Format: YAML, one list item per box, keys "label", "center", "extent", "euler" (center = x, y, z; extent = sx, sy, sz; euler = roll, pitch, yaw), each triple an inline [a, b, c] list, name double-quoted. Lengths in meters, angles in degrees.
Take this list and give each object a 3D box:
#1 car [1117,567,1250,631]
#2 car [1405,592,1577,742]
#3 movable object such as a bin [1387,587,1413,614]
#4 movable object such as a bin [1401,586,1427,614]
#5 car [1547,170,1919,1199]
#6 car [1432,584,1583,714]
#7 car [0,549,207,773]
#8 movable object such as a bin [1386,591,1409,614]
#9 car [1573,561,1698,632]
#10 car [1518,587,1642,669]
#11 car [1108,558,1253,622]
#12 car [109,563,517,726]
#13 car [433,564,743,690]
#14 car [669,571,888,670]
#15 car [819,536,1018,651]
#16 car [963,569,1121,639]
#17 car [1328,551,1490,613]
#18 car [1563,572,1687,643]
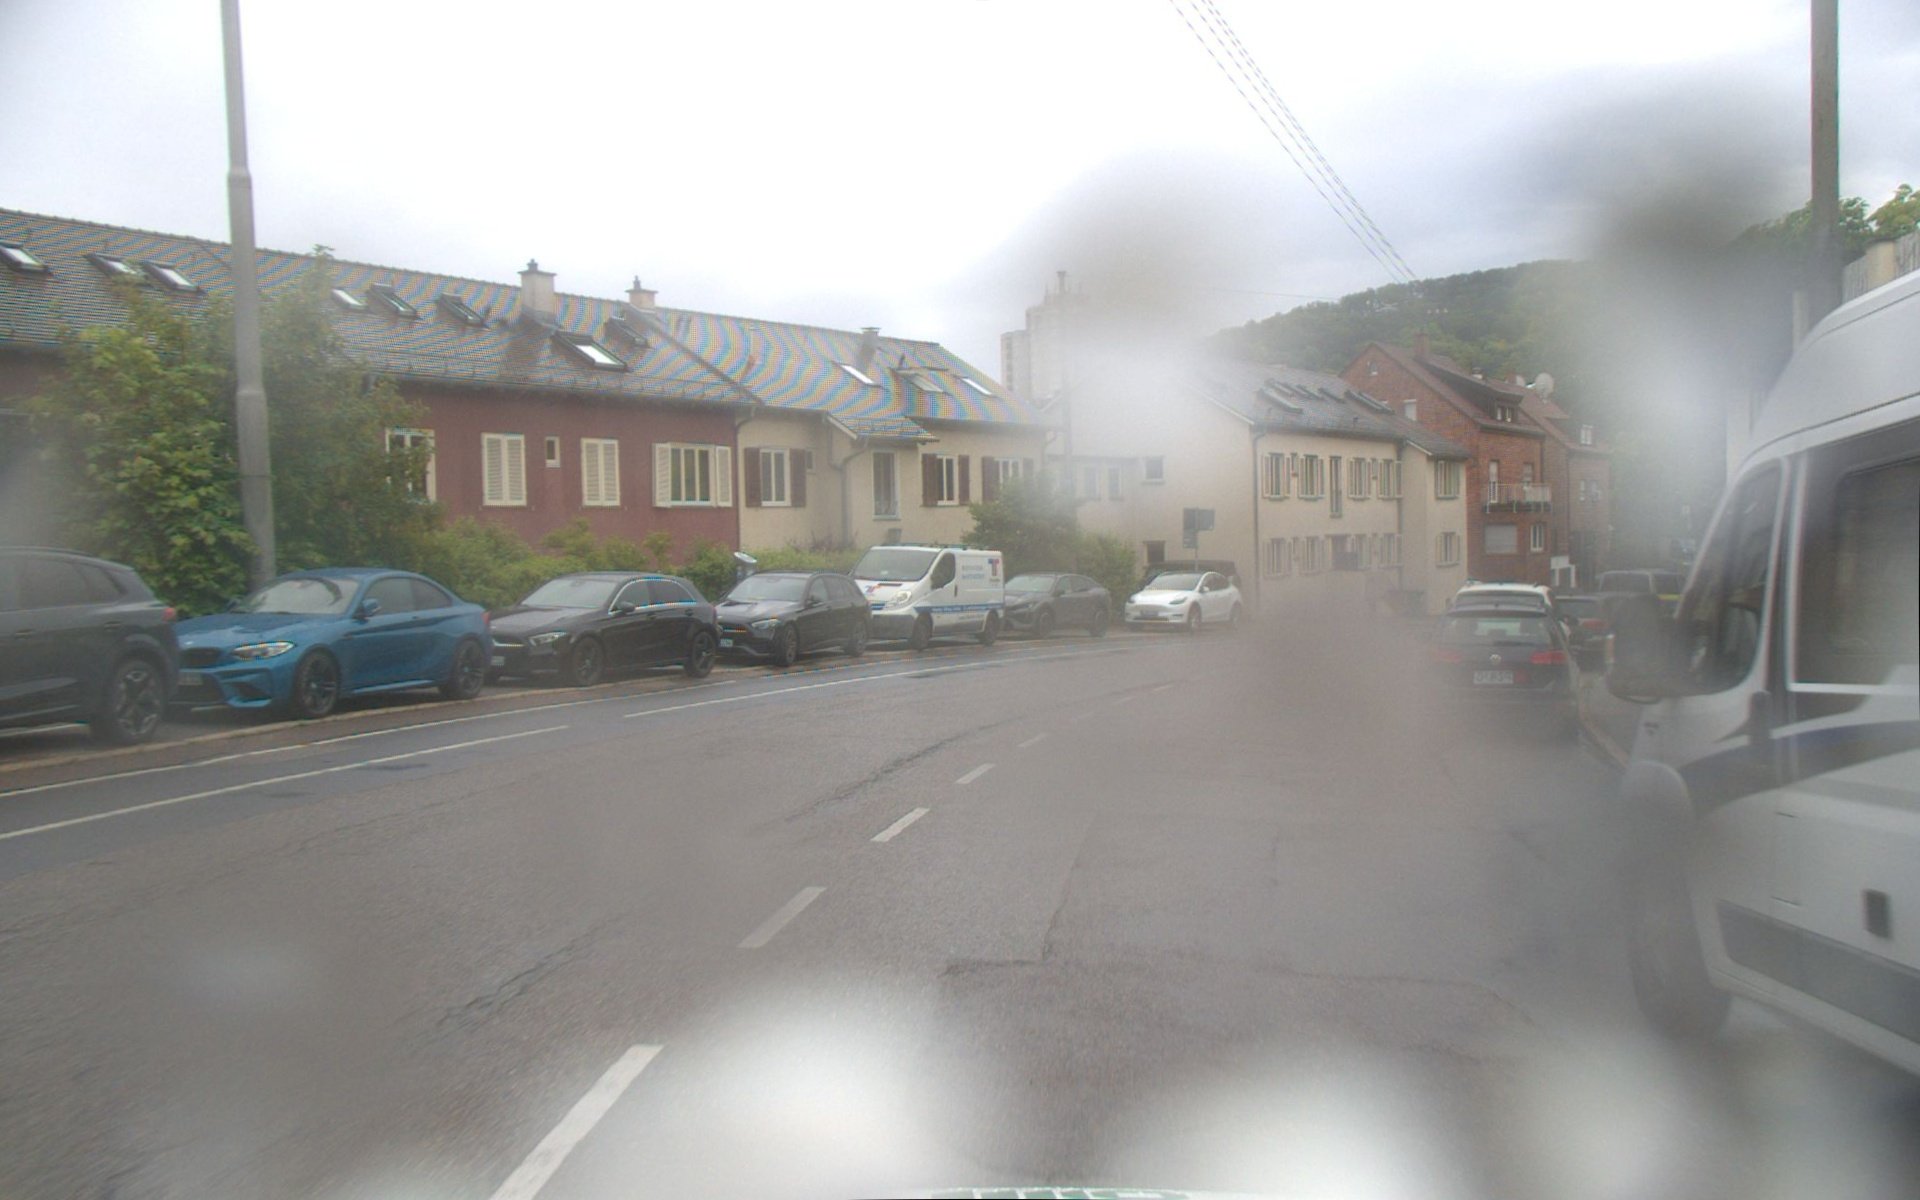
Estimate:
- label: "car"
  center: [6.205, -0.052, 45.423]
  extent: [1.894, 1.659, 4.666]
  euler: [1, 1, 32]
- label: "car"
  center: [6.279, 0.679, 19.291]
  extent: [1.644, 1.509, 4.201]
  euler: [1, 1, 21]
- label: "movable object such as a bin"
  center: [17.213, 0.011, 64.686]
  extent: [0.768, 1.065, 0.706]
  euler: [1, 1, 36]
- label: "movable object such as a bin"
  center: [17.940, -0.012, 65.362]
  extent: [0.768, 1.065, 0.735]
  euler: [1, 1, 36]
- label: "car"
  center: [3.440, 0.206, 4.335]
  extent: [2.055, 2.587, 5.622]
  euler: [-2, -1, 4]
- label: "car"
  center: [7.951, 0.613, 23.792]
  extent: [1.766, 1.678, 4.209]
  euler: [0, 1, 22]
- label: "car"
  center: [-7.823, 0.420, 12.287]
  extent: [1.880, 1.604, 4.392]
  euler: [1, 1, 10]
- label: "movable object such as a bin"
  center: [16.922, 0.101, 63.949]
  extent: [0.662, 0.874, 0.706]
  euler: [1, 1, 36]
- label: "car"
  center: [20.867, -0.133, 51.020]
  extent: [2.274, 1.973, 4.301]
  euler: [-2, 1, 41]
- label: "car"
  center: [12.685, 0.516, 33.694]
  extent: [1.611, 1.461, 4.164]
  euler: [1, 2, 31]
- label: "car"
  center: [7.330, -0.346, 55.113]
  extent: [4.408, 2.048, 1.883]
  euler: [0, 2, 33]
- label: "car"
  center: [-6.527, 0.351, 17.300]
  extent: [1.663, 1.429, 4.477]
  euler: [1, 2, 14]
- label: "car"
  center: [-4.905, 0.295, 22.501]
  extent: [1.772, 1.502, 4.520]
  euler: [1, 1, 24]
- label: "car"
  center: [-2.922, 0.278, 27.744]
  extent: [1.771, 1.502, 4.523]
  euler: [1, 1, 21]
- label: "car"
  center: [-0.716, -0.156, 33.142]
  extent: [1.812, 2.115, 5.015]
  euler: [1, 1, 27]
- label: "car"
  center: [1.988, 0.050, 38.508]
  extent: [1.775, 1.502, 4.512]
  euler: [1, 1, 31]
- label: "car"
  center: [19.767, -0.808, 72.983]
  extent: [6.544, 2.598, 2.159]
  euler: [1, 0, 37]
- label: "car"
  center: [15.383, 0.133, 38.122]
  extent: [1.758, 1.522, 4.692]
  euler: [1, 1, 33]
